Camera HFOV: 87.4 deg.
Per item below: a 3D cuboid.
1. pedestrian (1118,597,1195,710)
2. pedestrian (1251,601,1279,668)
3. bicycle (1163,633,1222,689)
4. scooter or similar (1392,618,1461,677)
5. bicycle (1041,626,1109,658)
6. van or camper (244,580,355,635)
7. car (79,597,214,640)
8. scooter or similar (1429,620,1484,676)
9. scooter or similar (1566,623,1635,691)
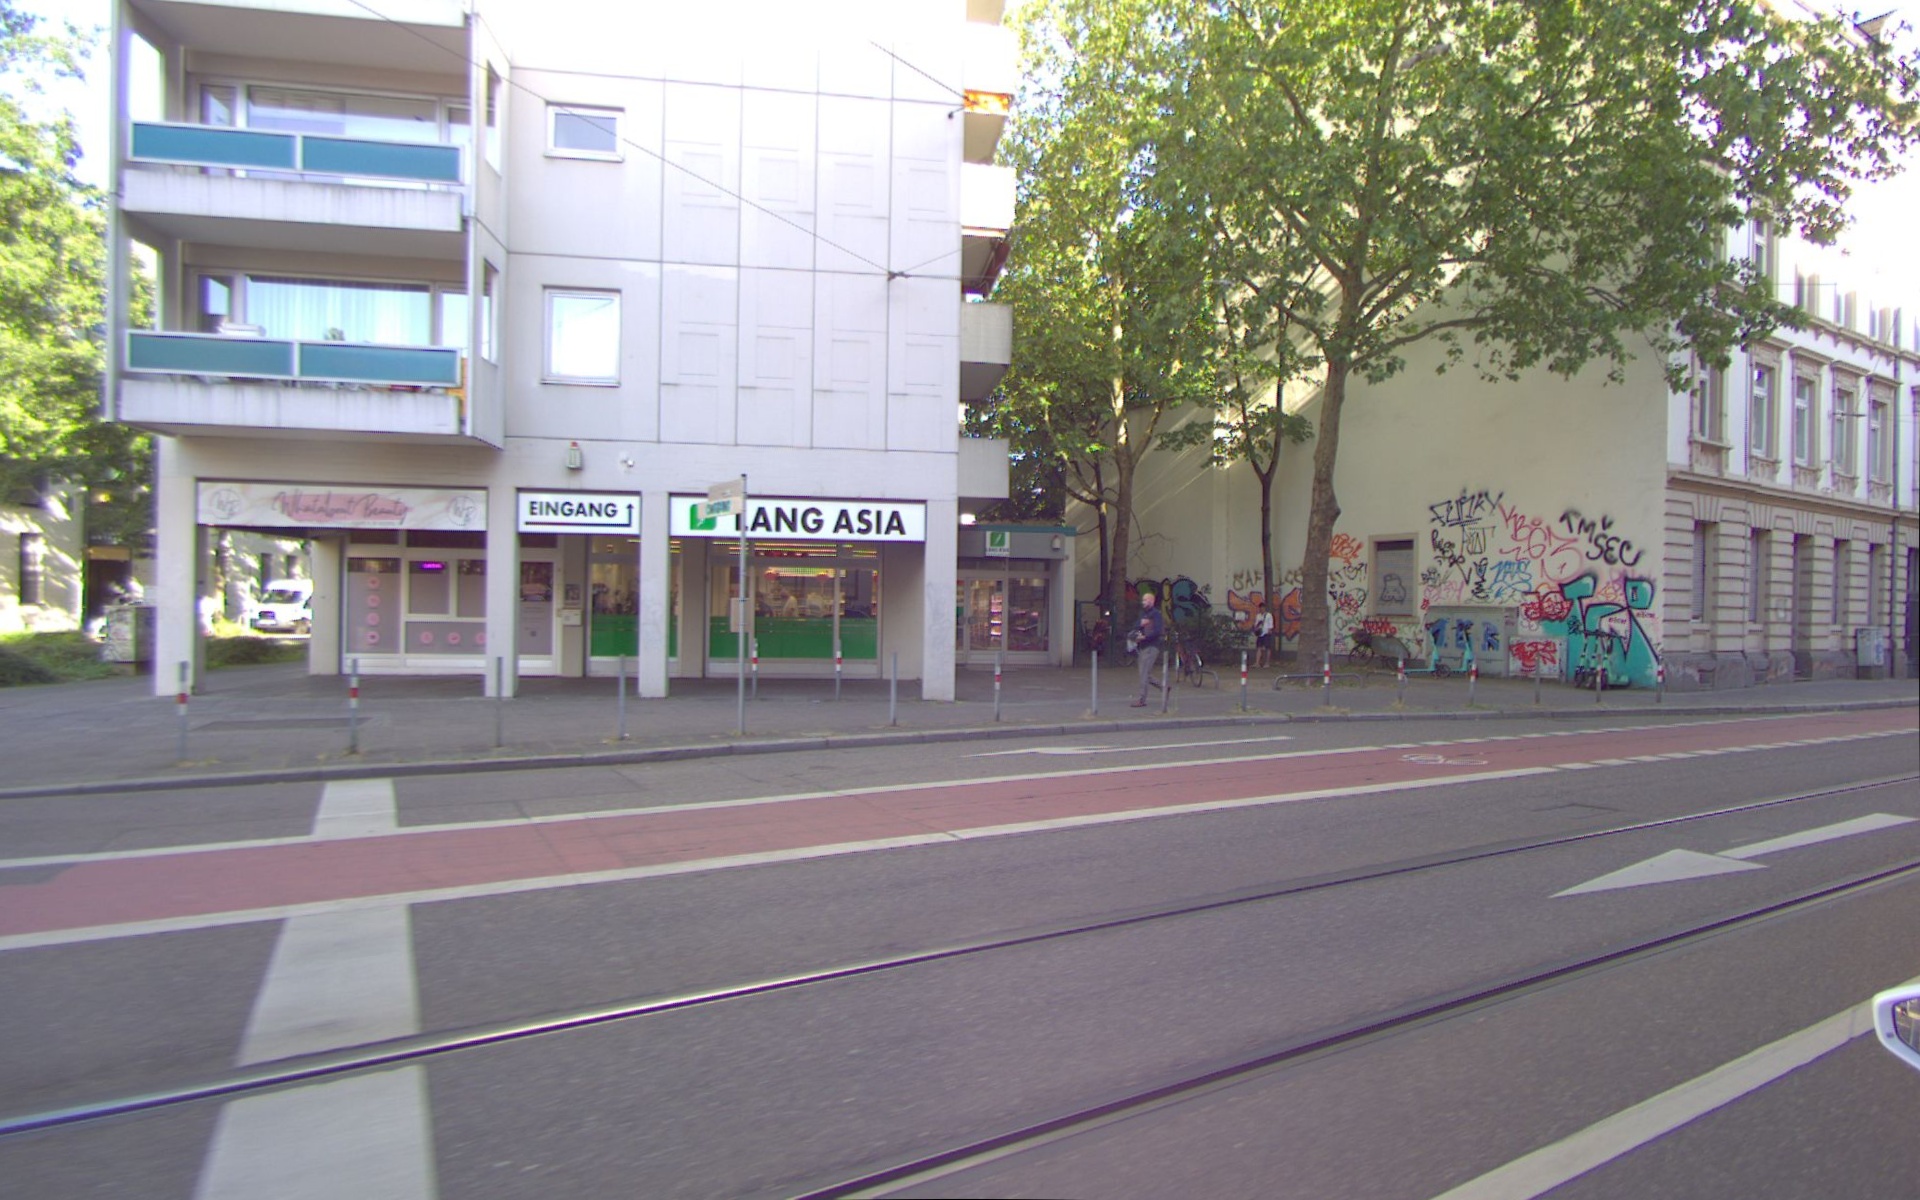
[{"bbox_3d":[3.203,0.856,16.393,1.010,1.789,0.681,0,0,-20],"label":"pedestrian"},{"bbox_3d":[8.080,0.901,26.601,0.541,1.741,0.453,1,0,-31],"label":"pedestrian"},{"bbox_3d":[4.754,1.230,20.659,0.652,1.048,1.921,1,0,-4],"label":"bicycle"},{"bbox_3d":[10.567,1.061,22.747,0.762,1.274,1.217,1,0,-42],"label":"scooter or similar"},{"bbox_3d":[3.436,1.259,29.994,1.951,0.926,0.503,1,0,-17],"label":"bicycle"},{"bbox_3d":[-30.786,0.349,47.042,1.962,2.396,5.471,1,-1,-5],"label":"van or camper"},{"bbox_3d":[-29.727,0.668,36.894,1.962,1.483,3.996,1,-1,-6],"label":"car"},{"bbox_3d":[11.398,1.086,23.063,0.762,1.238,0.928,1,0,-42],"label":"scooter or similar"},{"bbox_3d":[13.340,1.169,20.925,1.062,1.289,0.784,-1,3,-31],"label":"scooter or similar"}]
